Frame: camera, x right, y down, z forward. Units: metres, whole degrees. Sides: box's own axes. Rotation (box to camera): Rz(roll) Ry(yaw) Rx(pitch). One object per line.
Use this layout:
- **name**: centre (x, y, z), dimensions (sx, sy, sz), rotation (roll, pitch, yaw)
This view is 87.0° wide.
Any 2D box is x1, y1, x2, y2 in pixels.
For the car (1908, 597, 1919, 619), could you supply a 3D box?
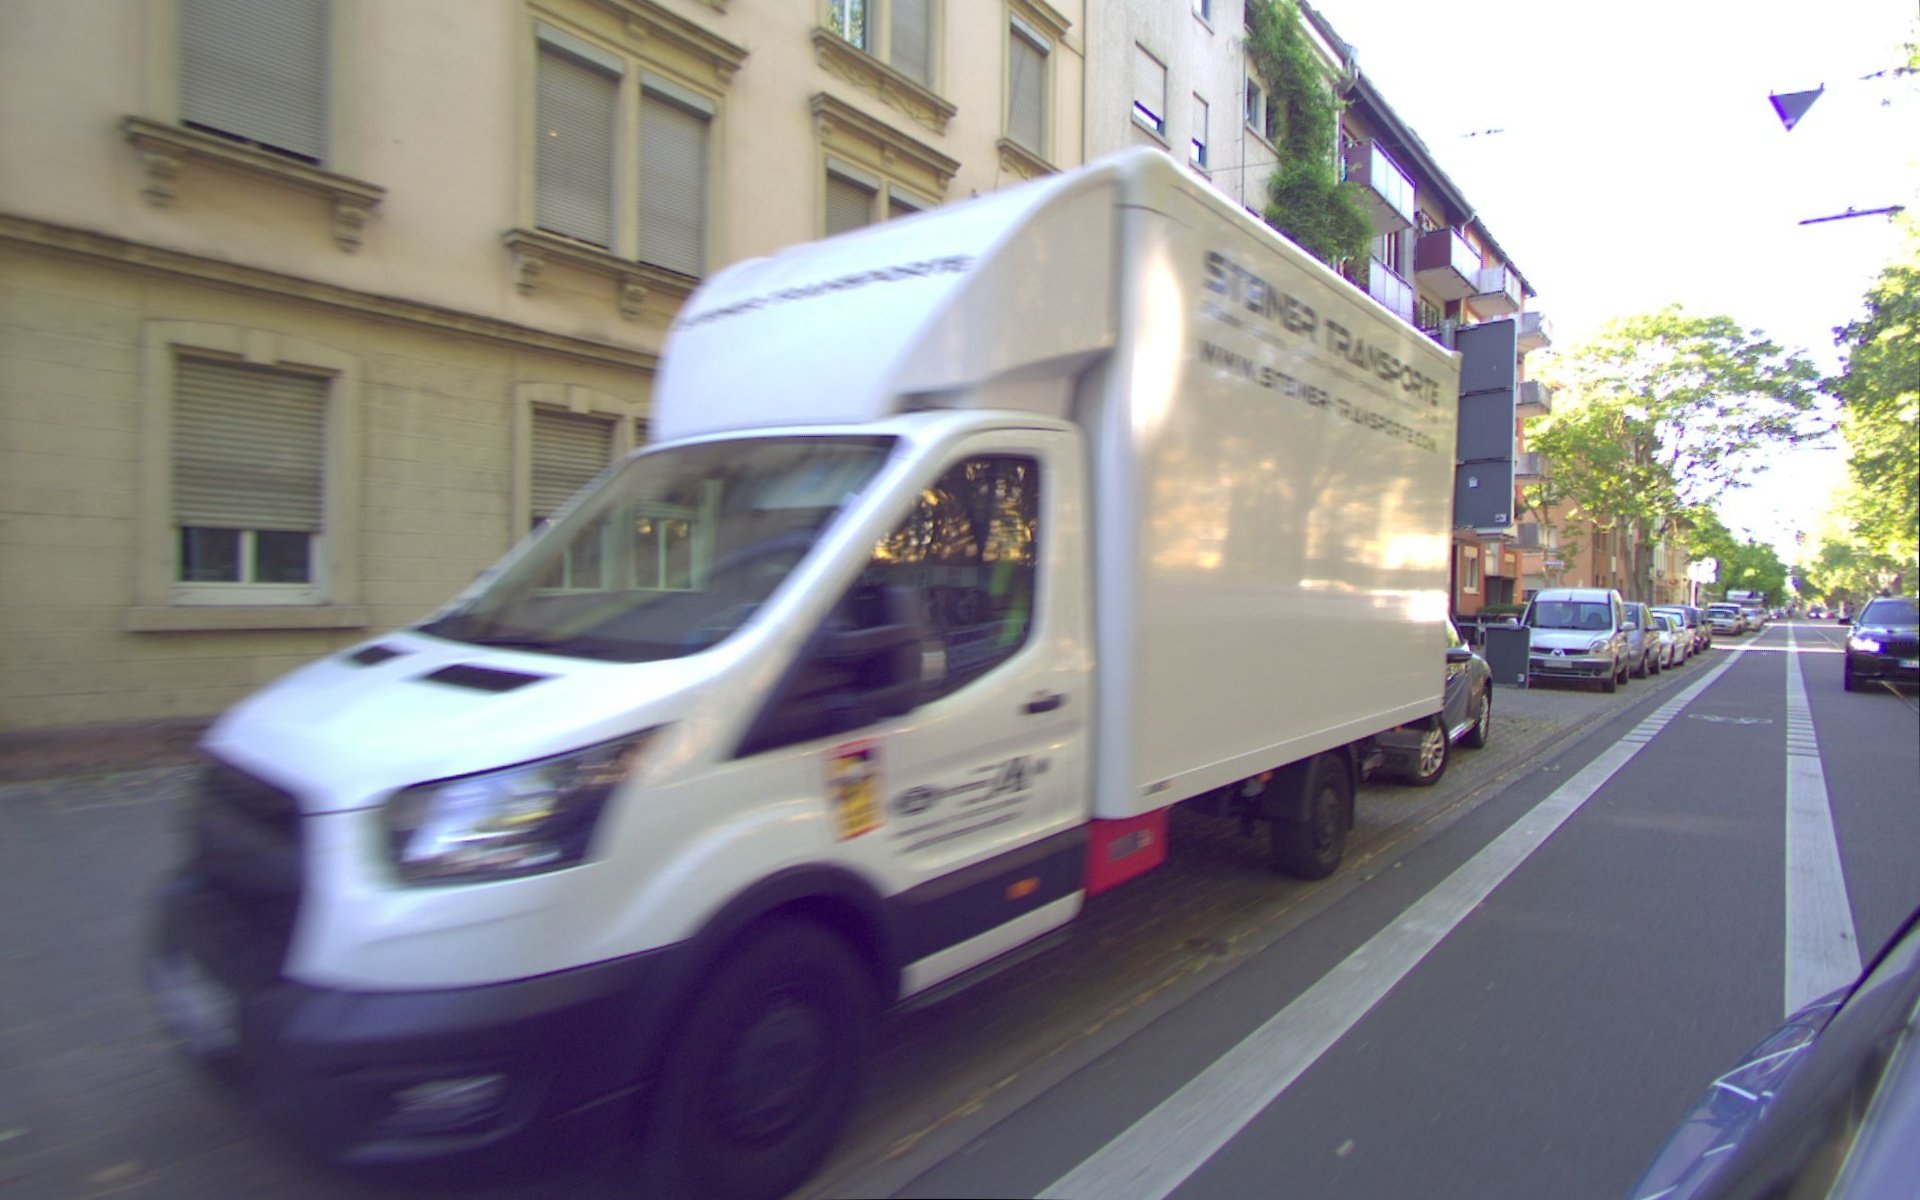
- **car**: centre (107.453, 0.951, 110.880), dimensions (4.998, 2.428, 1.999), rotation (0, -1, 40)

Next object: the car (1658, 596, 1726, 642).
- **car**: centre (26.689, 0.653, 36.857), dimensions (1.731, 1.480, 3.859), rotation (4, 2, 40)

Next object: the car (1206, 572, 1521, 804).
- **car**: centre (3.916, 0.596, 9.377), dimensions (1.726, 1.576, 4.098), rotation (4, 3, 35)

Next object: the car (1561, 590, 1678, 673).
- **car**: centre (14.469, 0.636, 22.138), dimensions (1.658, 1.600, 3.535), rotation (3, 1, 41)

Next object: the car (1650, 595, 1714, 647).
- **car**: centre (24.004, 0.651, 33.597), dimensions (1.523, 1.610, 3.699), rotation (0, 0, 39)

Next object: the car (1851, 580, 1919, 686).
- **car**: centre (17.776, 0.565, 18.615), dimensions (1.916, 1.774, 4.737), rotation (0, 0, 40)

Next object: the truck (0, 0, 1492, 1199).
- **truck**: centre (0.258, -0.176, 5.003), dimensions (2.537, 3.378, 7.089), rotation (4, 3, 40)

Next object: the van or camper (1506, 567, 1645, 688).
- **van or camper**: centre (11.243, 0.420, 18.358), dimensions (1.666, 1.906, 4.153), rotation (3, 1, 38)

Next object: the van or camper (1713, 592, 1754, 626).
- **van or camper**: centre (45.786, 0.503, 59.868), dimensions (1.752, 1.887, 4.762), rotation (2, 1, 39)

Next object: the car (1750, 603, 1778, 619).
- **car**: centre (77.071, 1.060, 97.002), dimensions (1.991, 1.397, 4.671), rotation (4, 2, 40)

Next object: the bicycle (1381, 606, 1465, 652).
- **bicycle**: centre (11.989, 0.743, 26.243), dimensions (0.468, 1.042, 1.896), rotation (1, 2, -44)

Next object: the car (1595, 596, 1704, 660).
- **car**: centre (17.572, 0.658, 25.698), dimensions (1.659, 1.416, 4.668), rotation (4, 2, 42)

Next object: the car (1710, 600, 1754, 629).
- **car**: centre (42.345, 0.751, 55.479), dimensions (1.703, 1.491, 3.942), rotation (2, 1, 40)

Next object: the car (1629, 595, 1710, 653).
- **car**: centre (21.421, 0.665, 30.517), dimensions (1.590, 1.545, 3.779), rotation (4, 3, 41)

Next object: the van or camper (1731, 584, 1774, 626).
- **van or camper**: centre (62.838, 0.393, 80.204), dimensions (2.458, 3.102, 6.180), rotation (3, 2, 39)
